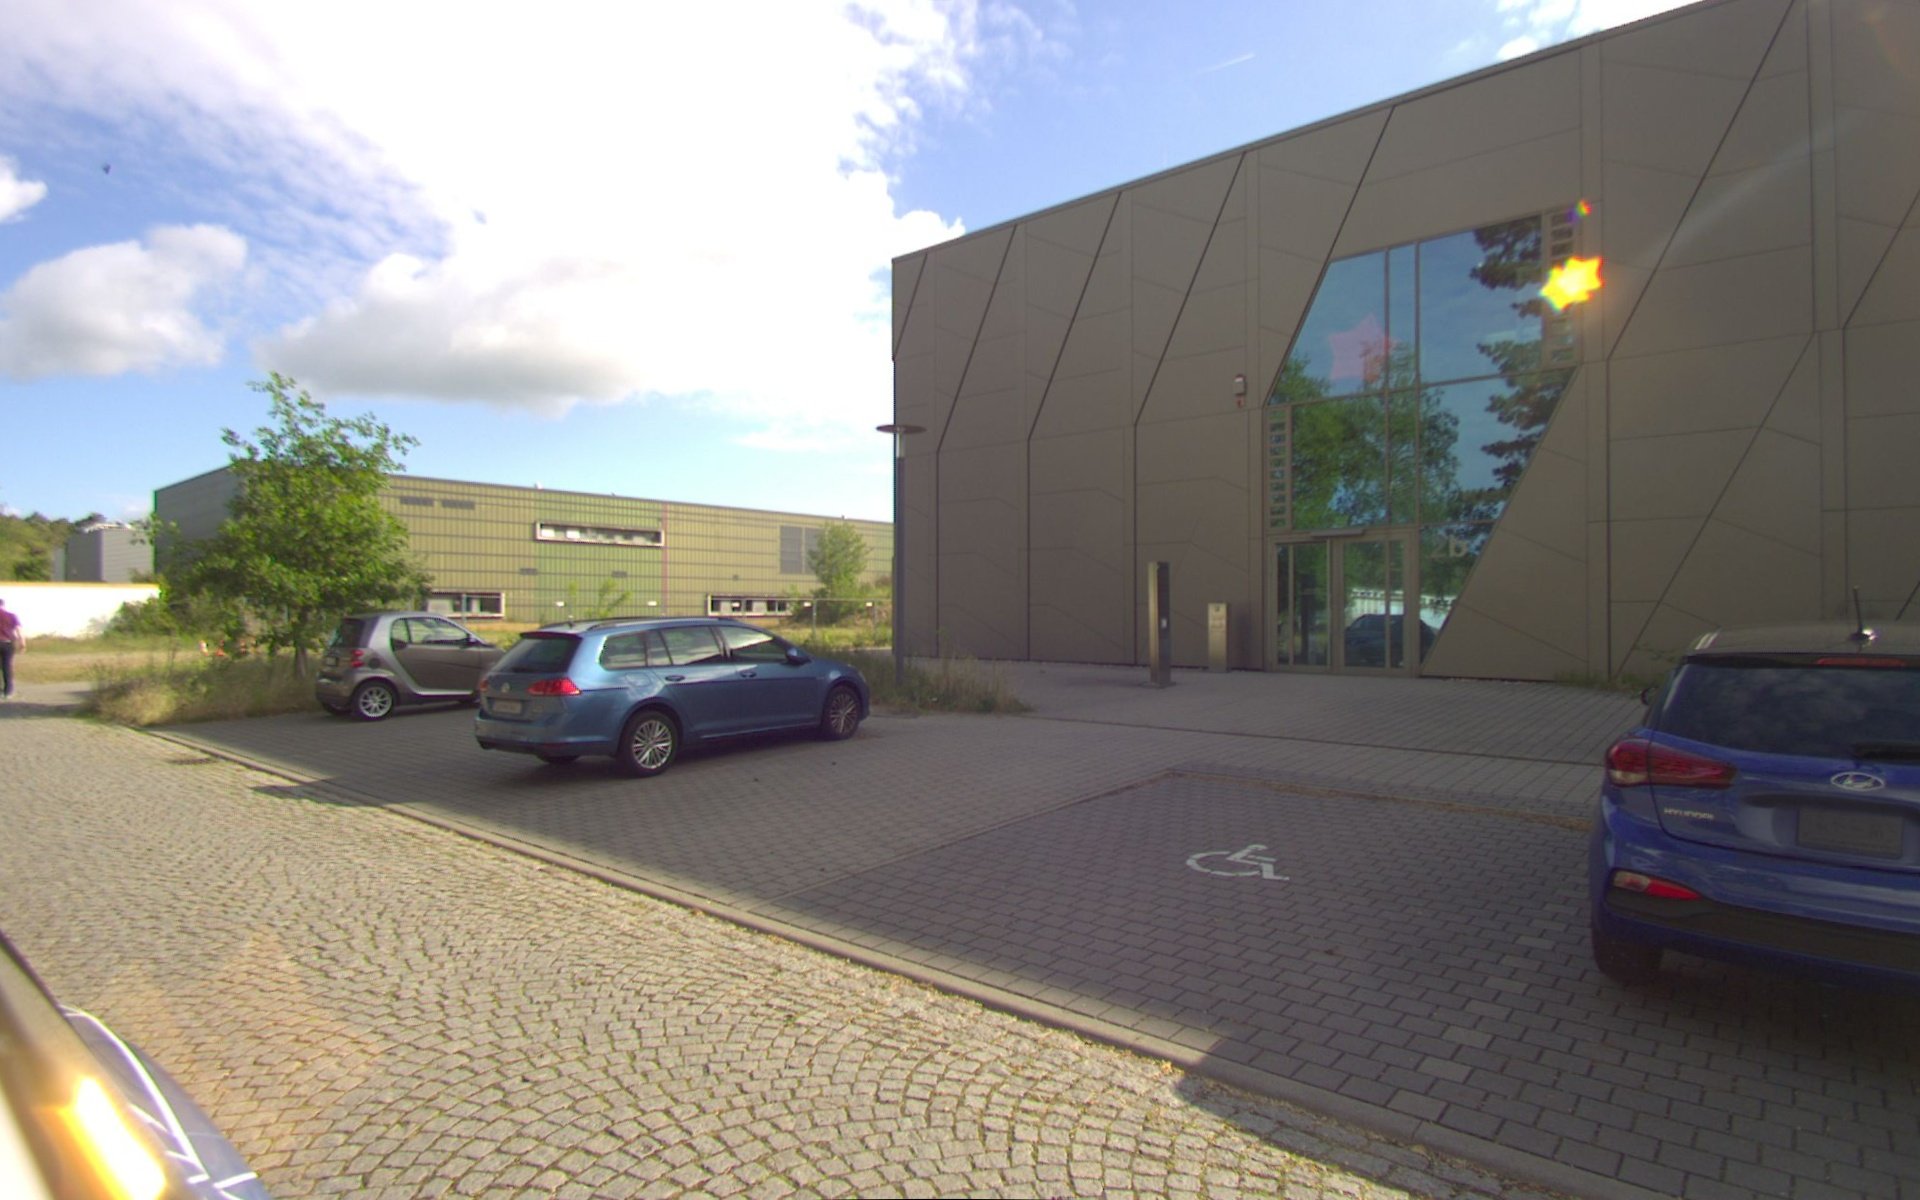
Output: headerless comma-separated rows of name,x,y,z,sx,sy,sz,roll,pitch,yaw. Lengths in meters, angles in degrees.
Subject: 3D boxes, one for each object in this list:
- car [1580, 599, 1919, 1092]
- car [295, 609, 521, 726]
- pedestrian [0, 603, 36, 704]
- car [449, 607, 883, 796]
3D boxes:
car,4.250,0.772,4.605,1.720,1.475,3.794,-1,1,43
car,-8.446,0.959,15.595,1.517,1.554,2.672,-1,1,39
pedestrian,-17.288,0.947,18.185,1.151,1.785,0.797,-1,-1,36
car,-2.871,0.891,10.723,1.678,1.475,4.216,-2,0,38
